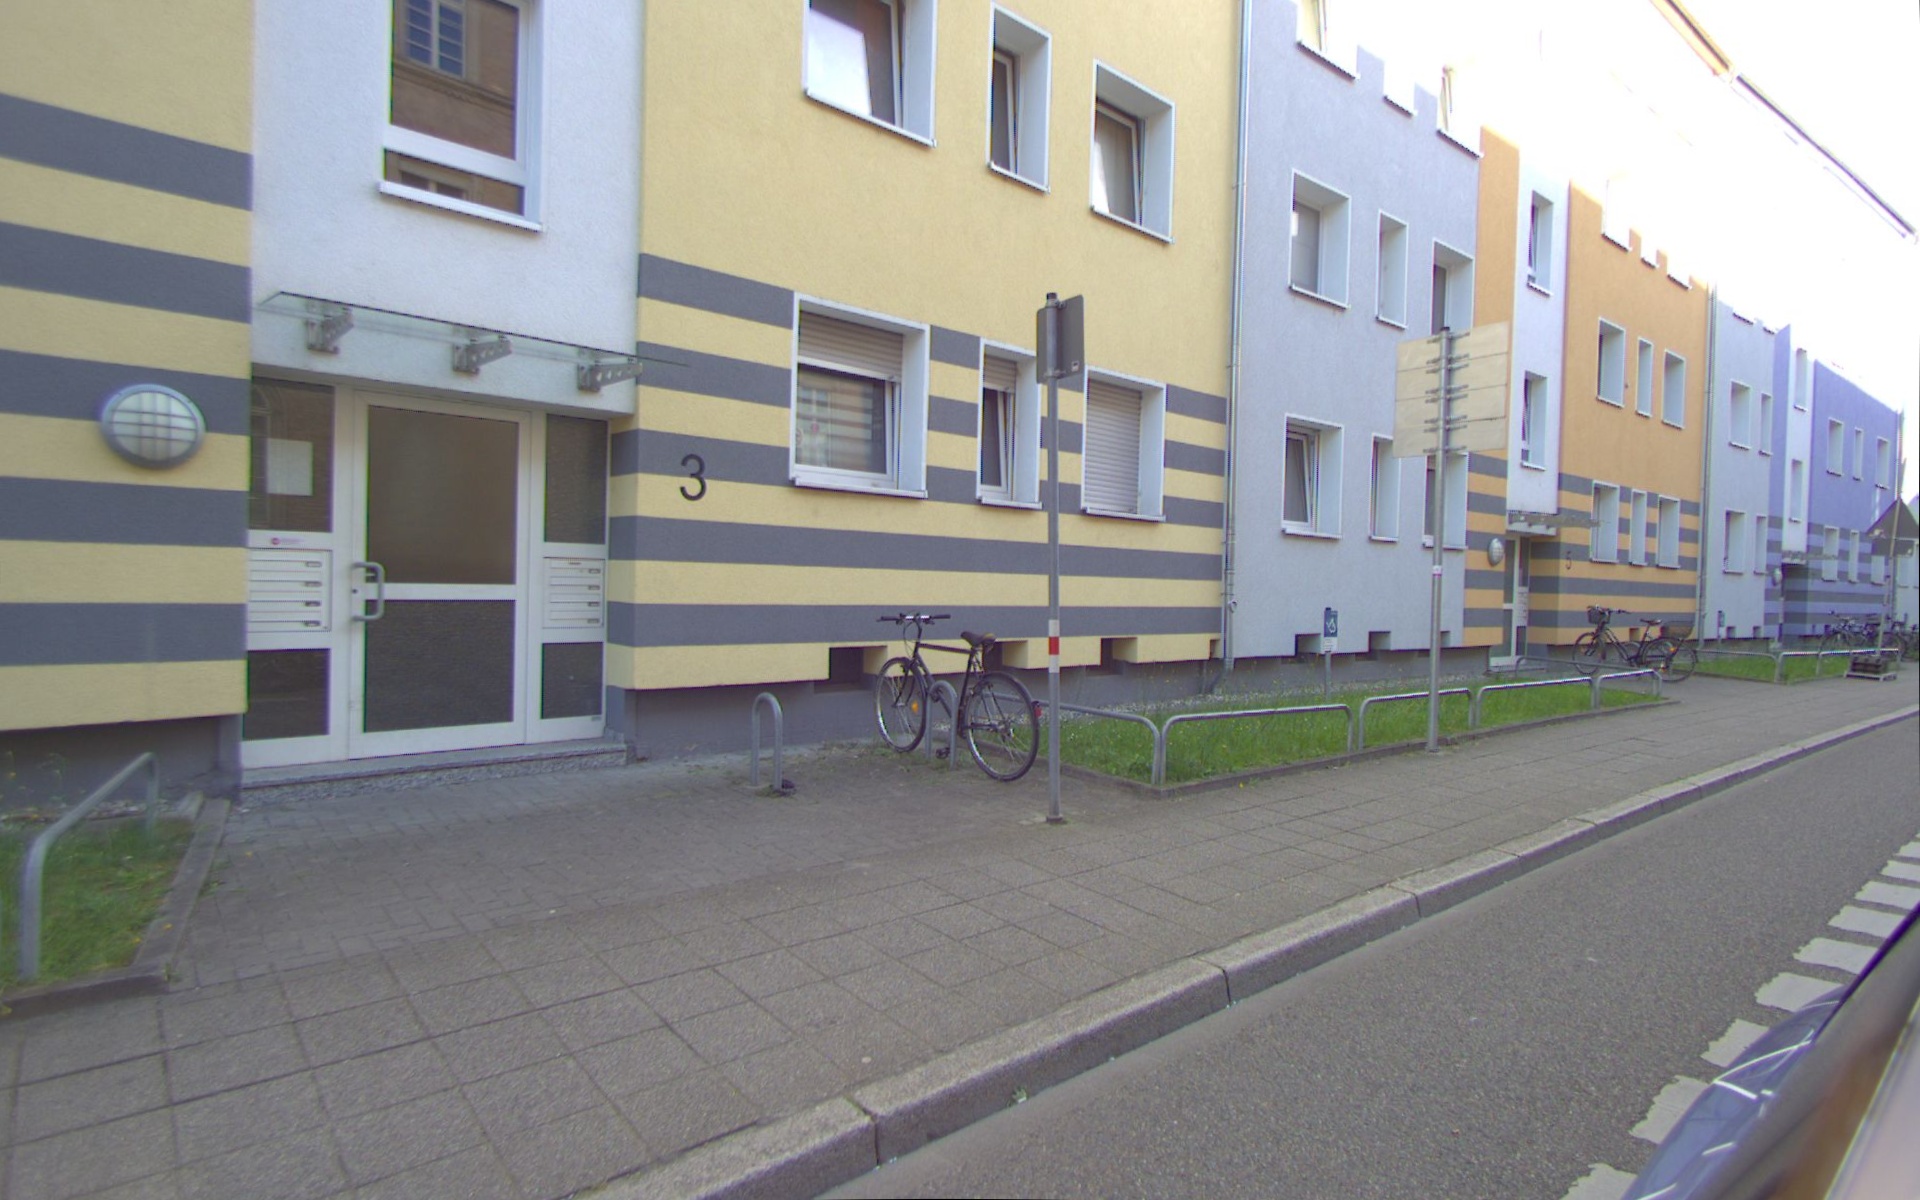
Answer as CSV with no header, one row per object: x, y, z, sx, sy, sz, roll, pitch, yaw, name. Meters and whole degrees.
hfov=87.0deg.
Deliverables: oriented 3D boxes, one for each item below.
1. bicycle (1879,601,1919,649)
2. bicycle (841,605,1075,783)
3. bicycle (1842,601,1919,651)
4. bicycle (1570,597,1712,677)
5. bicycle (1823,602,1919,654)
24.142,0.649,25.272,0.475,1.166,1.678,1,1,-37,bicycle
-0.068,0.582,7.013,1.775,1.031,0.476,3,1,44,bicycle
23.315,0.637,25.415,0.475,1.166,1.678,1,1,-37,bicycle
10.694,0.556,15.941,1.775,1.137,0.476,3,1,44,bicycle
22.234,0.654,24.723,0.475,1.166,1.678,1,1,-37,bicycle
